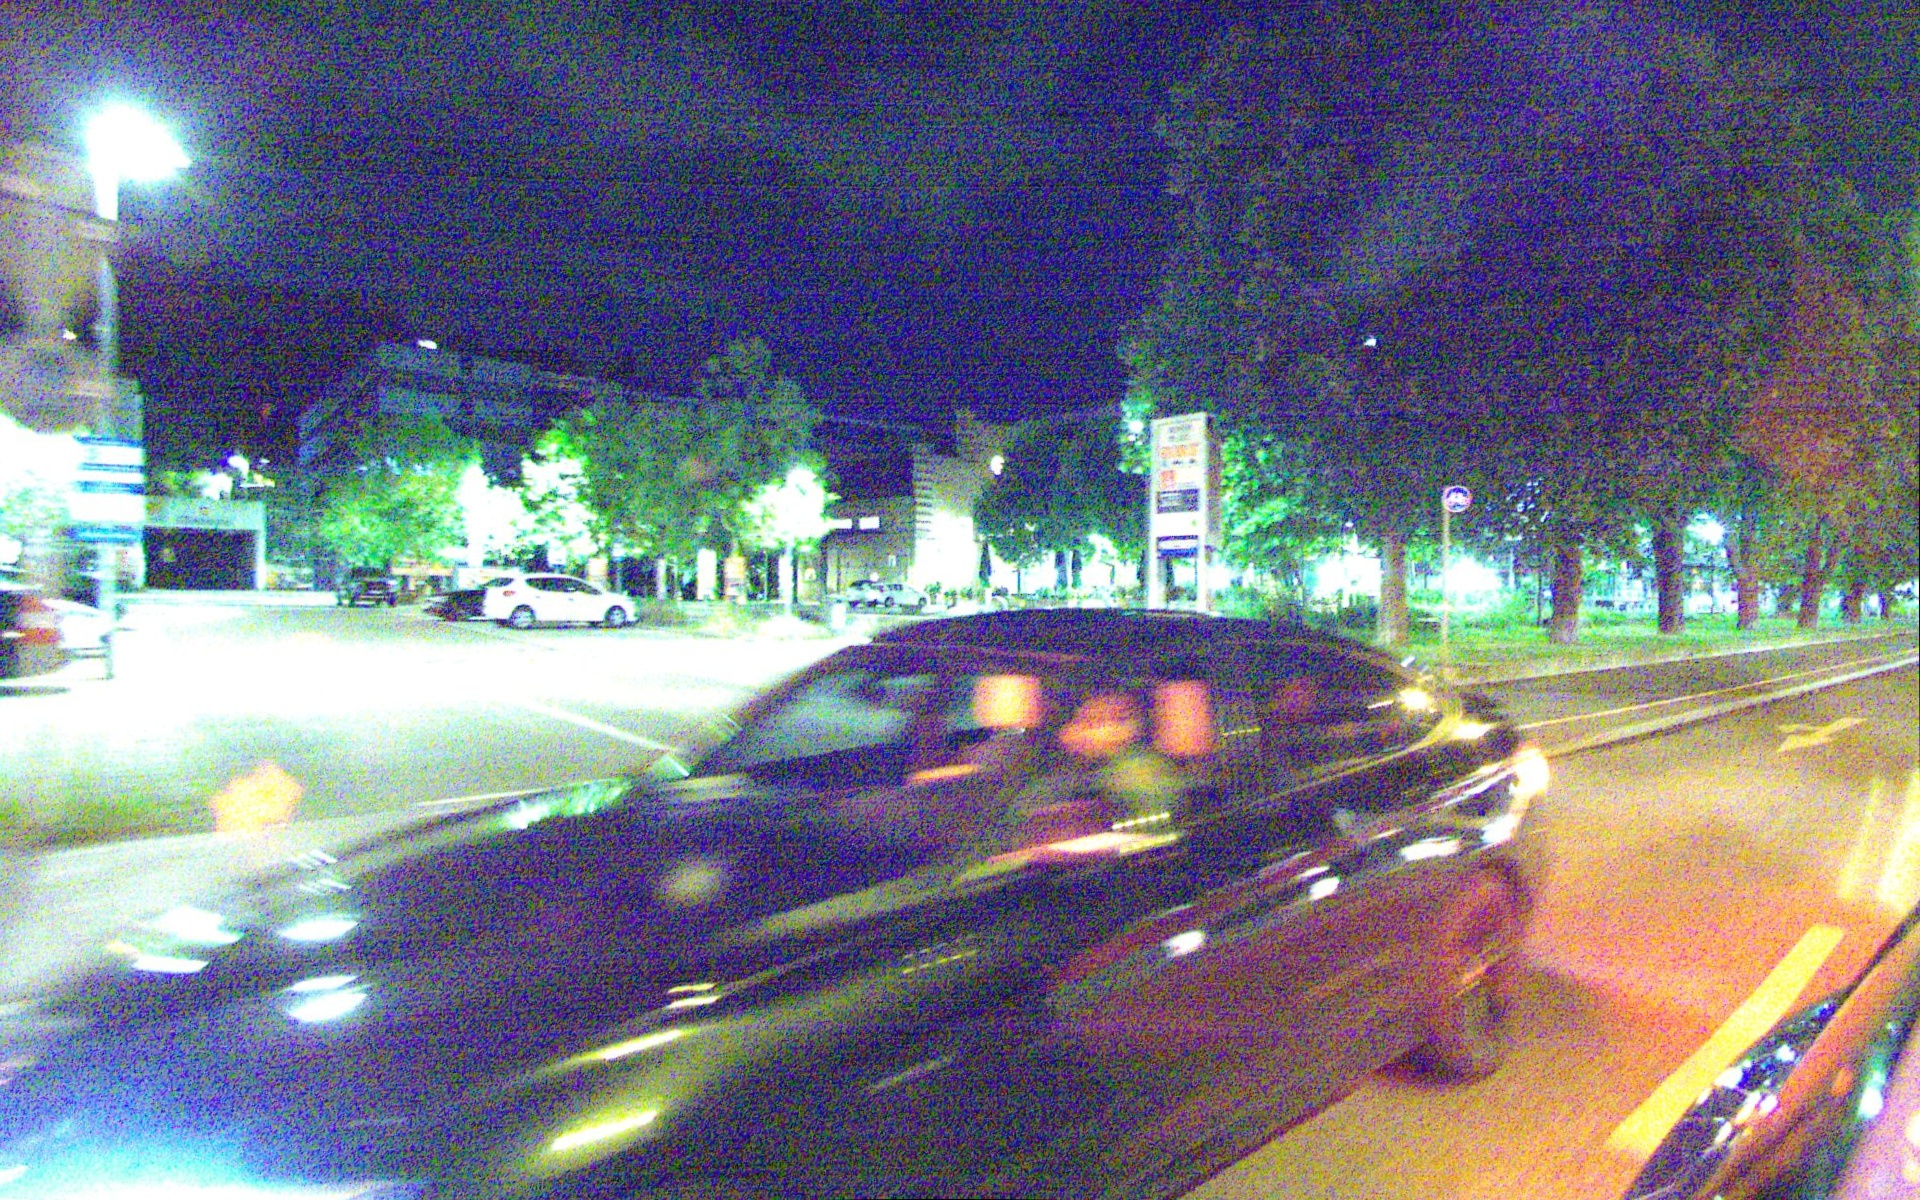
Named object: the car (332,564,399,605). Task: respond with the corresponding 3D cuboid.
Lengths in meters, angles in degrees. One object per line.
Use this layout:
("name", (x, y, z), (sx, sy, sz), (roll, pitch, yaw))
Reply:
("car", (-27.157, -0.720, 46.178), (2.042, 1.787, 4.549), (0, 1, -38))

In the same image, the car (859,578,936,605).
("car", (-3.718, -0.519, 60.394), (4.225, 1.527, 1.997), (0, 1, -41))

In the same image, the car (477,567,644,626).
("car", (-11.230, -0.113, 28.560), (4.026, 1.552, 1.772), (0, 1, -40))

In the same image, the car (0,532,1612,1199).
("car", (0.130, 0.703, 3.086), (4.645, 1.513, 1.808), (0, -1, -40))

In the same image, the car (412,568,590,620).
("car", (-14.457, -0.207, 32.077), (4.807, 1.531, 1.892), (0, 1, -42))

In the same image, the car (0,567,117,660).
("car", (-17.032, 0.201, 17.346), (3.928, 1.552, 1.786), (0, 1, -39))

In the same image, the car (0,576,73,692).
("car", (-13.495, 0.383, 11.983), (4.401, 1.413, 1.516), (1, 1, -39))

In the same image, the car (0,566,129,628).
("car", (-23.044, -0.089, 24.757), (4.167, 1.446, 1.997), (0, 1, -41))
